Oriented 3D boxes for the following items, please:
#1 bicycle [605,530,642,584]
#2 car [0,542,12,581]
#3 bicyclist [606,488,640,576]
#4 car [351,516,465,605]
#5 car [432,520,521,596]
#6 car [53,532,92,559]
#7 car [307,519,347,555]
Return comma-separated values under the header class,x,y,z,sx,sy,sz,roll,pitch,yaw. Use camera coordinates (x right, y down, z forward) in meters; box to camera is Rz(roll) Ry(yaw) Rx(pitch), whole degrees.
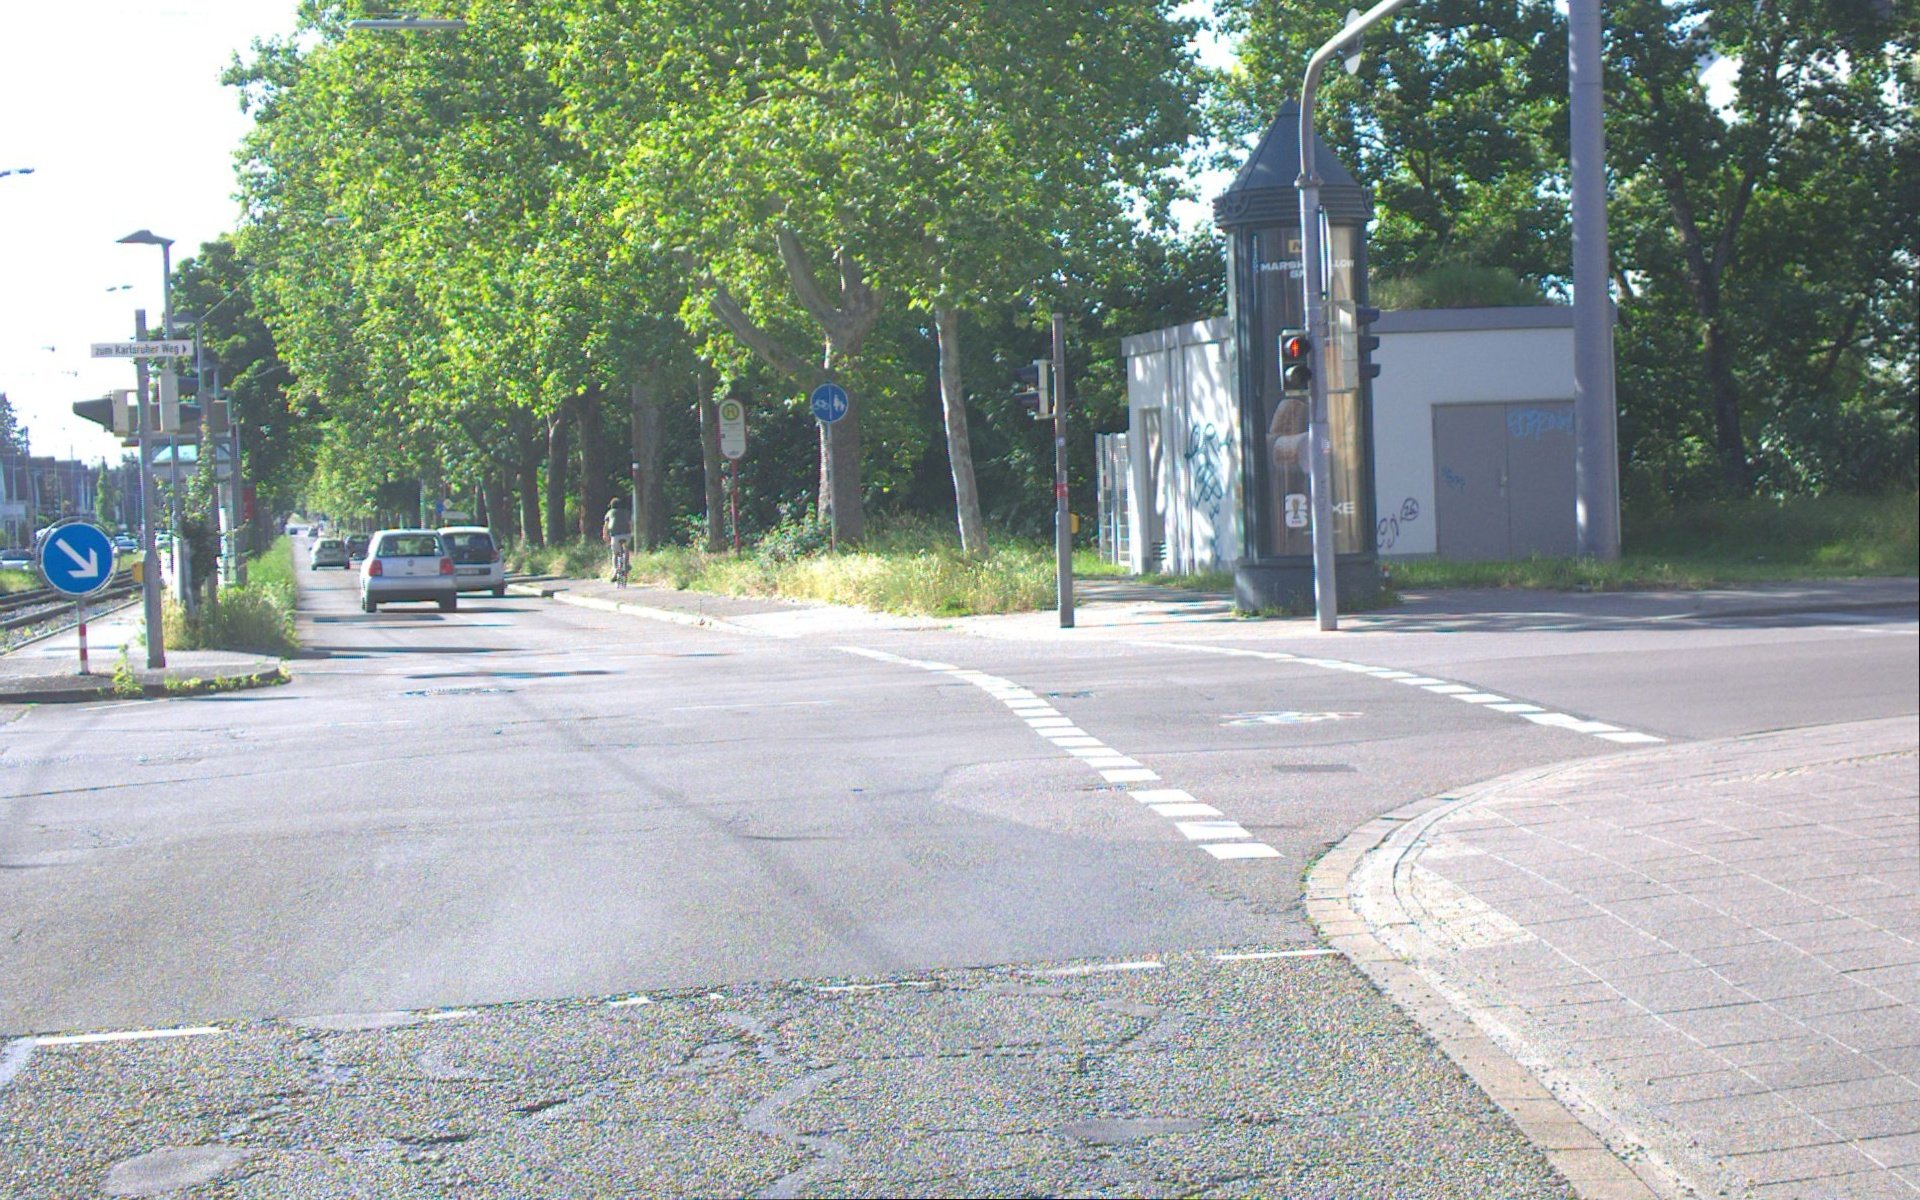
class,x,y,z,sx,sy,sz,roll,pitch,yaw
bicycle,-6.894,-0.884,70.496,0.536,1.062,1.434,-3,2,-13
car,-39.760,-1.542,139.648,1.920,1.561,4.001,-3,2,-9
bicyclist,-6.914,-1.393,70.557,0.534,1.763,0.713,-3,1,-13
car,-9.836,-0.709,61.068,1.867,1.481,3.556,-2,1,-11
car,-10.682,-0.941,75.820,1.750,1.599,3.751,0,1,-11
car,-51.856,-3.175,200.934,1.993,1.464,4.378,-2,1,-12
car,-30.171,-3.014,163.810,1.750,1.599,3.582,-3,2,-12
